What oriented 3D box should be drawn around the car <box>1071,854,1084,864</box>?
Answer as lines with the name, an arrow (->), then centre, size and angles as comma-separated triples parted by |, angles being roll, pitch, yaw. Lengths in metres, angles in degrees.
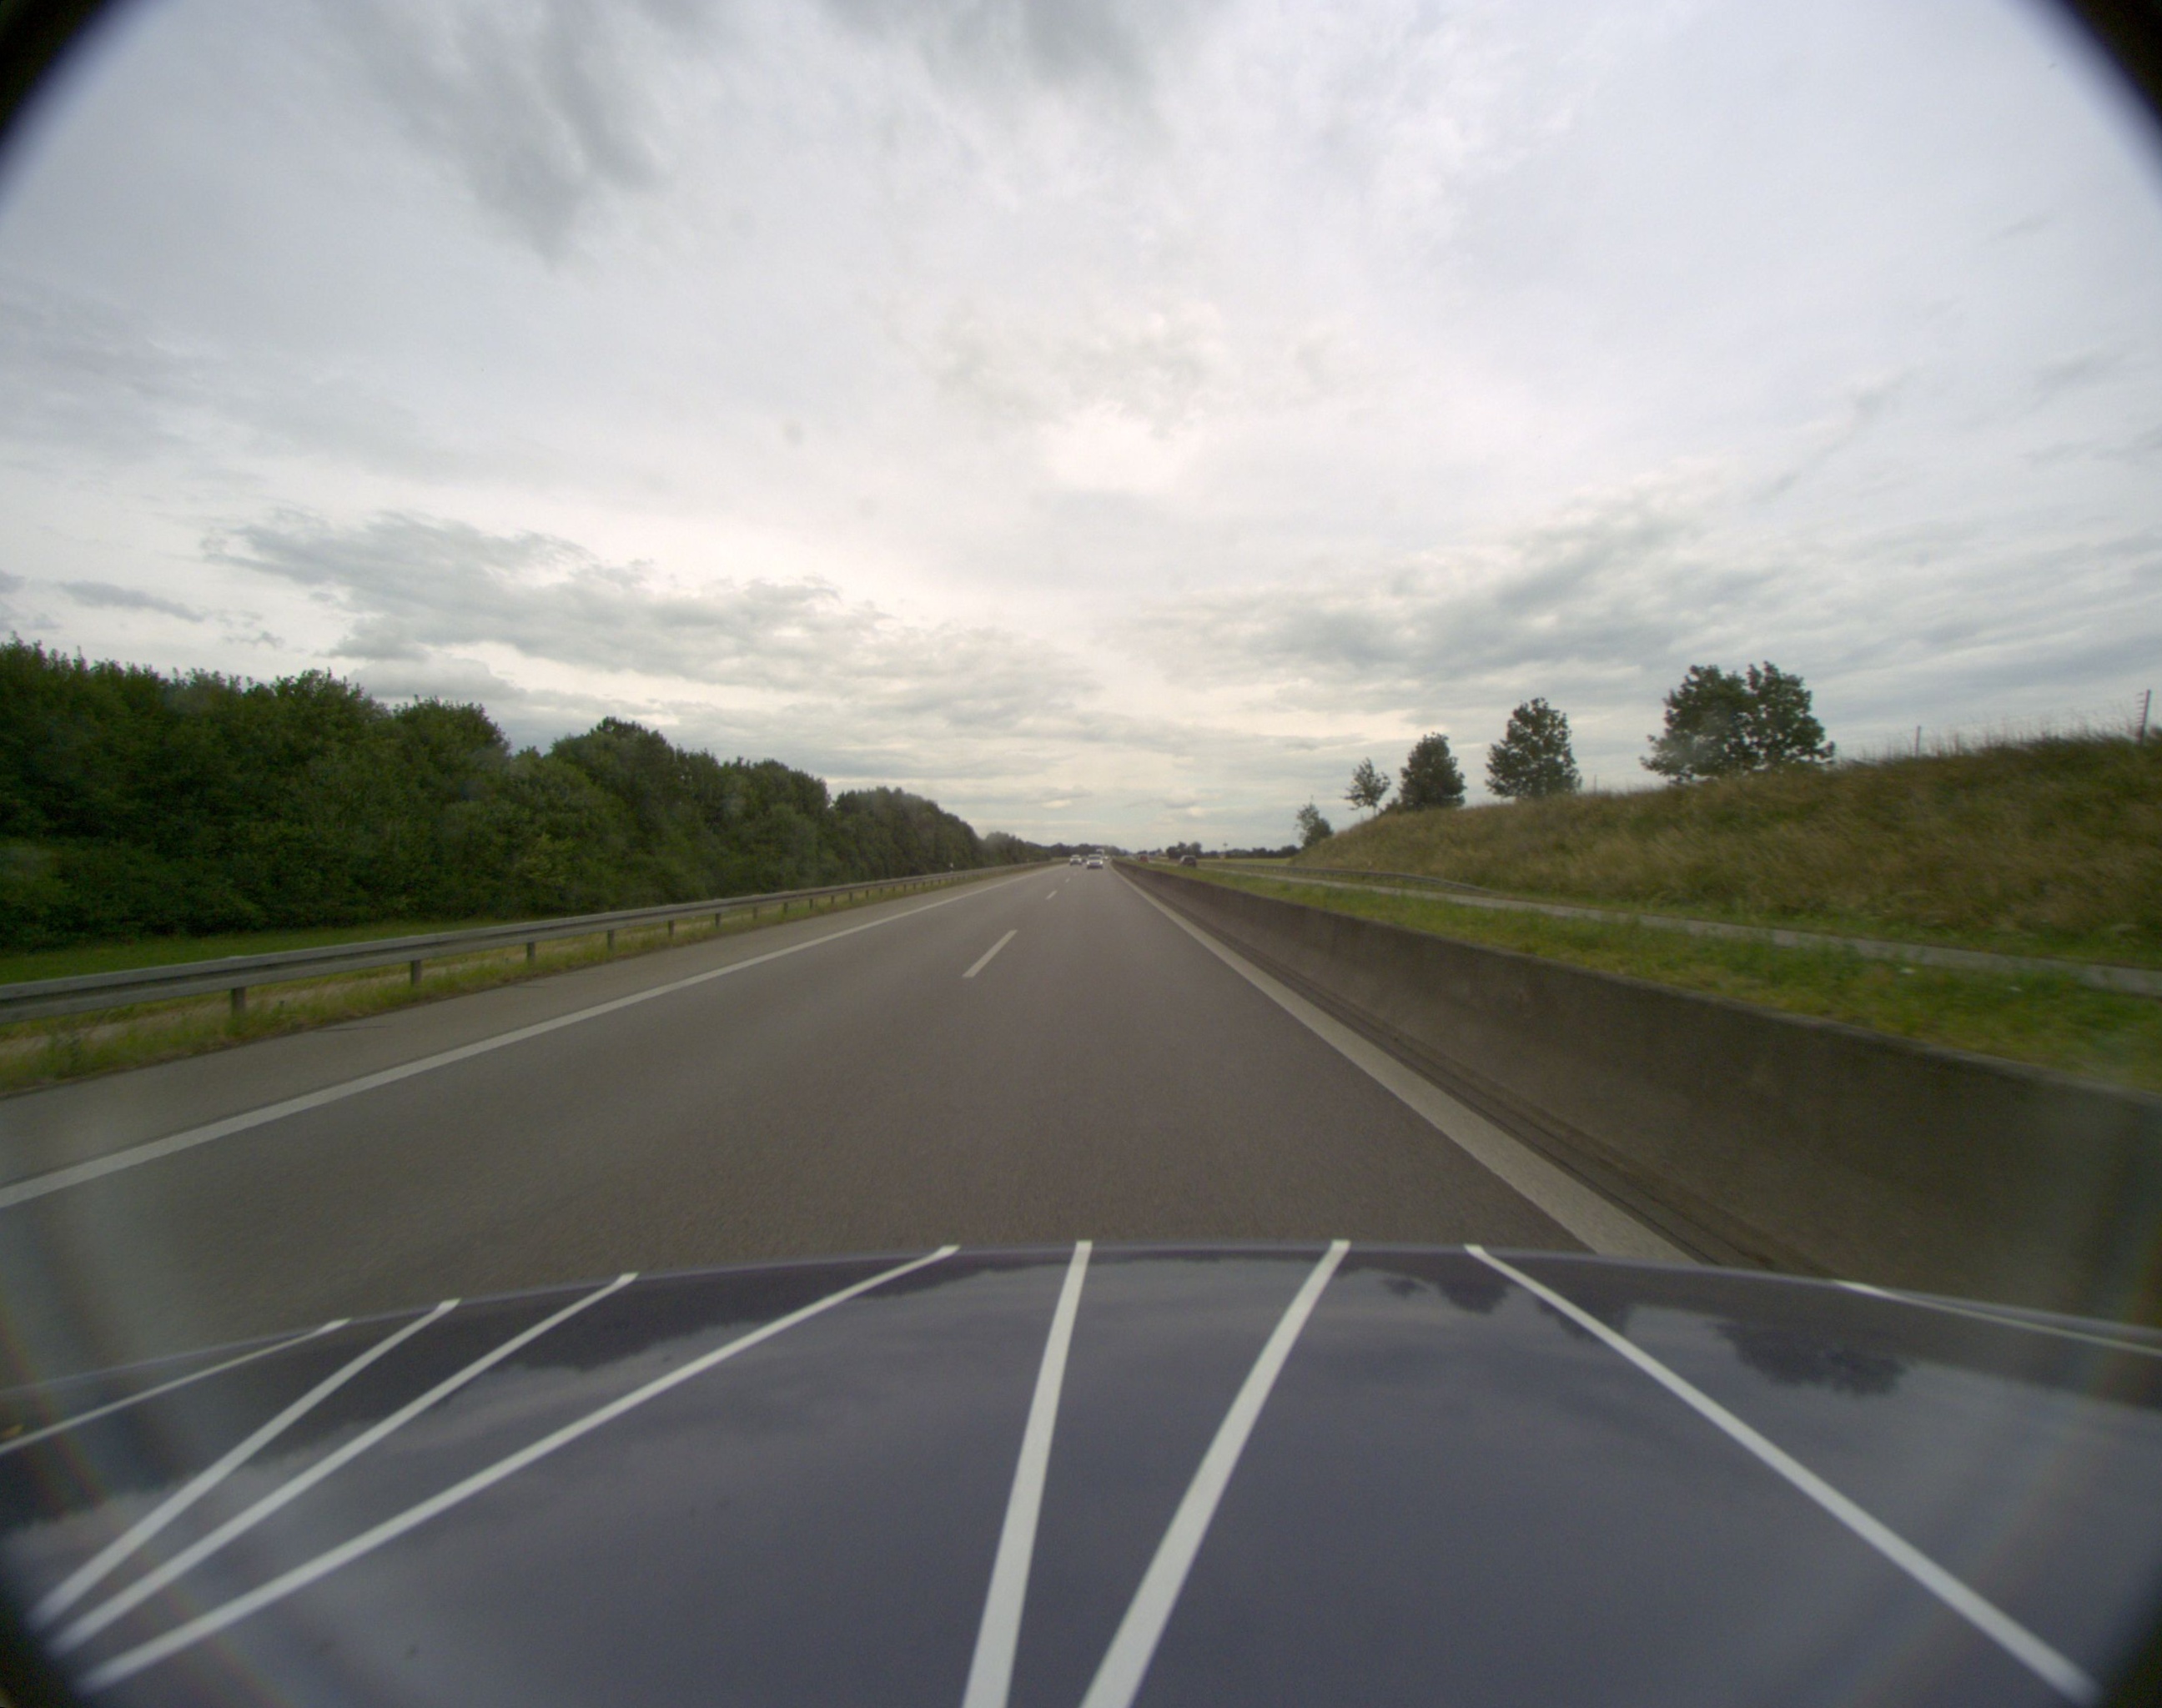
car -> -0.584, 0.870, 125.372 | 1.915, 1.553, 4.289 | -1, 1, 3

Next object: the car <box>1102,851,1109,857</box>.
car -> 6.992, 0.054, 213.452 | 1.915, 1.553, 4.289 | -1, 1, 3

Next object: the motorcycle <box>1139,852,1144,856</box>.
motorcycle -> 20.094, -0.040, 253.175 | 1.570, 1.072, 2.982 | 0, 1, 2

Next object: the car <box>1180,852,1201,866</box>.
car -> 12.741, 0.569, 88.633 | 1.850, 1.488, 4.580 | 1, 0, 1

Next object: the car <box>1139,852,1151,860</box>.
car -> 11.629, 0.364, 138.512 | 1.850, 1.562, 4.361 | 0, 0, 1

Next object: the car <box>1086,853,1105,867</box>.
car -> 1.617, 0.651, 87.274 | 1.916, 1.553, 4.287 | -1, 1, -2
